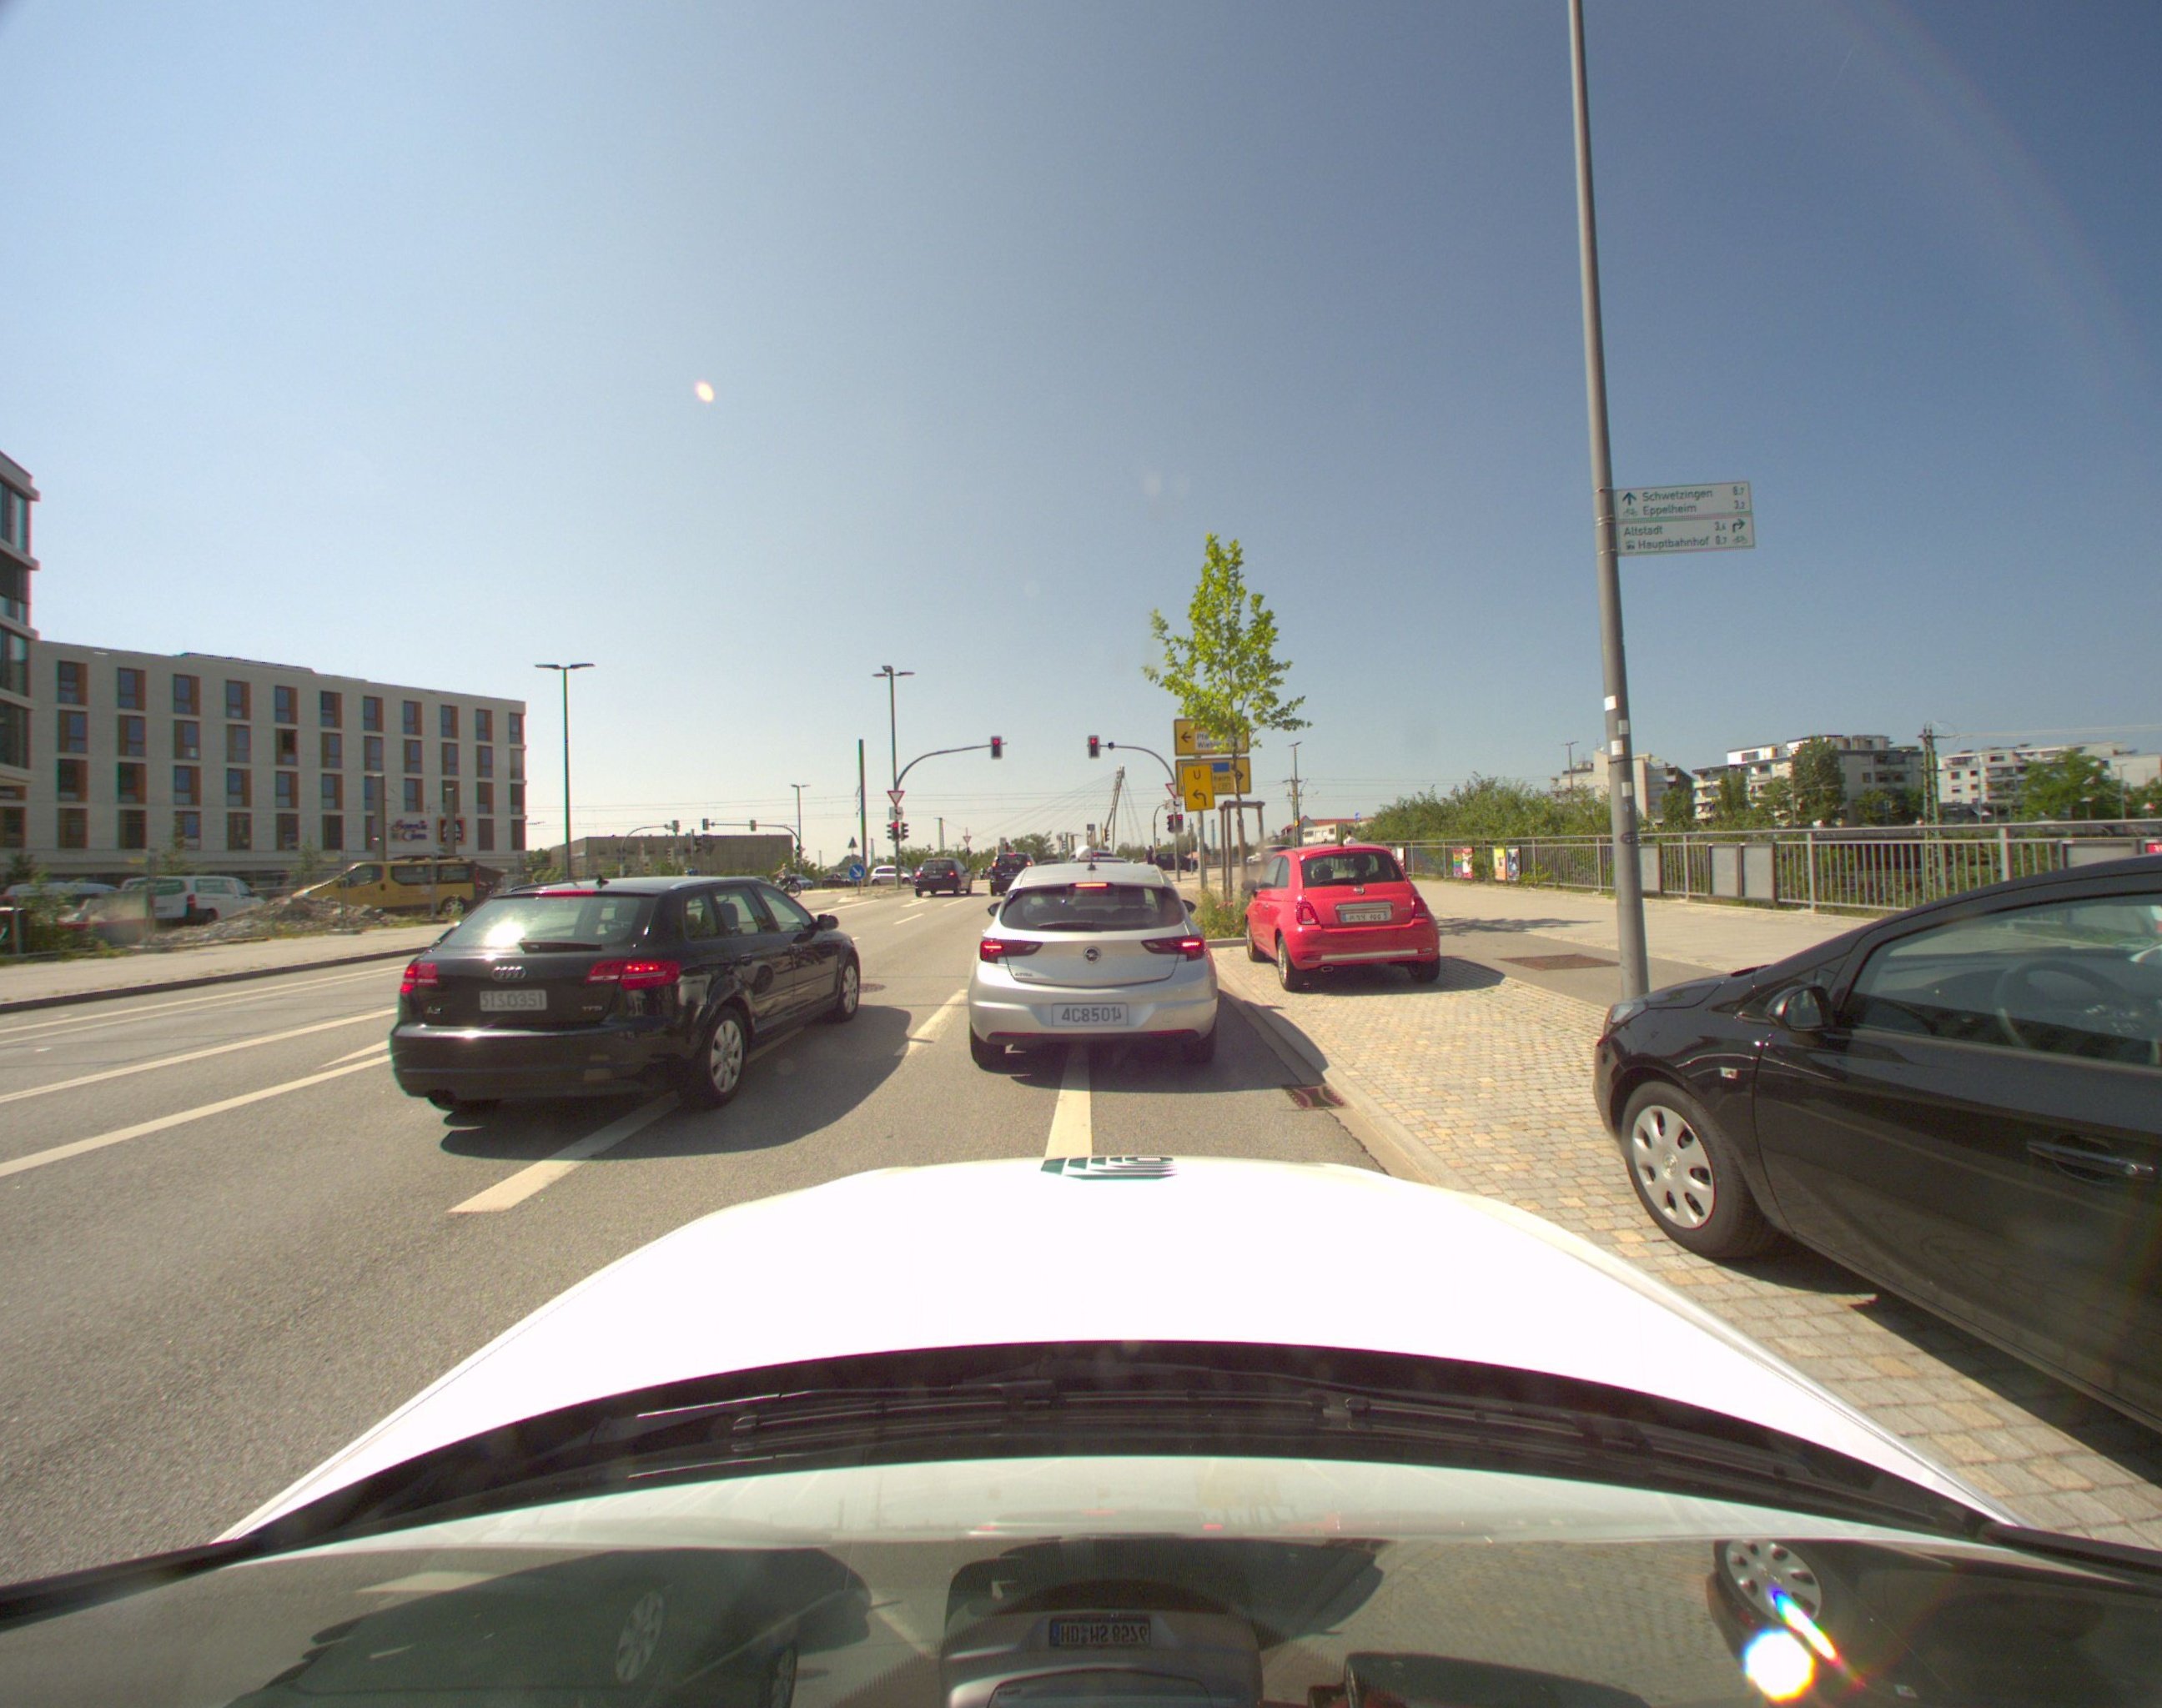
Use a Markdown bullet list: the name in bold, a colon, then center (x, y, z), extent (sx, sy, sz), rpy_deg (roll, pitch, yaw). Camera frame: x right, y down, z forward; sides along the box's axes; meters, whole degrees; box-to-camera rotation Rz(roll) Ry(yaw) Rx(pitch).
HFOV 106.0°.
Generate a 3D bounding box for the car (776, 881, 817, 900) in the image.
- **car**: center (-23.197, 2.959, 66.342), extent (3.113, 1.439, 1.596), rpy_deg (-1, -1, 36)

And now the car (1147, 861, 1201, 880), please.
- **car**: center (6.885, 1.188, 60.359), extent (3.766, 1.390, 1.664), rpy_deg (0, -1, -3)

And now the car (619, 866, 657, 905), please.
- **car**: center (-24.184, 1.657, 44.516), extent (1.679, 2.014, 3.964), rpy_deg (0, -1, -27)

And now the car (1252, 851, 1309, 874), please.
- **car**: center (15.905, 0.698, 65.063), extent (3.990, 1.784, 1.991), rpy_deg (0, -1, -13)

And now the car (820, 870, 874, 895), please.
- **car**: center (-20.027, 2.425, 69.713), extent (3.952, 2.014, 2.011), rpy_deg (-1, -1, 22)

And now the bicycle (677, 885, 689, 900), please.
- **bicycle**: center (-21.136, 2.045, 43.308), extent (0.517, 0.692, 2.235), rpy_deg (-1, -1, -25)

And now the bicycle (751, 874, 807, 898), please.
- **bicycle**: center (-14.340, 1.507, 38.696), extent (2.350, 1.127, 0.677), rpy_deg (0, -1, 0)

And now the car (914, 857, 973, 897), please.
- **car**: center (-5.218, 0.854, 31.180), extent (1.581, 1.395, 3.340), rpy_deg (-1, -1, 1)

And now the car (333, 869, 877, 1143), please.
- **car**: center (-2.981, 0.826, 6.245), extent (1.699, 1.412, 4.001), rpy_deg (0, -1, 2)

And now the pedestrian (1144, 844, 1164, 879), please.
- **pedestrian**: center (3.881, 0.393, 43.462), extent (0.746, 1.863, 0.744), rpy_deg (1, -2, -44)

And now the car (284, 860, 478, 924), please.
- **car**: center (-22.635, 1.151, 26.494), extent (1.974, 1.890, 4.514), rpy_deg (-1, -1, 40)

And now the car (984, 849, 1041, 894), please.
- **car**: center (-2.600, 0.662, 31.638), extent (1.797, 1.622, 3.917), rpy_deg (-1, -1, 1)

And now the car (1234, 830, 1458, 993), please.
- **car**: center (3.004, 0.576, 10.072), extent (1.662, 1.540, 3.921), rpy_deg (-3, 0, 4)

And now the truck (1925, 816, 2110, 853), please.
- **truck**: center (88.053, -1.750, 76.537), extent (17.857, 3.204, 3.723), rpy_deg (0, -1, -14)

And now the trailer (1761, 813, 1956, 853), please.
- **trailer**: center (68.067, -1.777, 71.225), extent (17.225, 3.204, 3.723), rpy_deg (0, -1, -14)

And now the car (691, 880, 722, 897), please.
- **car**: center (-39.710, 3.653, 86.353), extent (1.727, 1.741, 4.161), rpy_deg (1, -1, -43)

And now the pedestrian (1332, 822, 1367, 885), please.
- **pedestrian**: center (7.950, 0.005, 24.127), extent (0.755, 1.830, 0.885), rpy_deg (0, -1, 1)

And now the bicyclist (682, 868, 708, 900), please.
- **bicyclist**: center (-19.002, 1.462, 40.094), extent (0.814, 1.560, 0.868), rpy_deg (-1, -1, 28)

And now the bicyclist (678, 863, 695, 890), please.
- **bicyclist**: center (-22.458, 1.284, 46.361), extent (0.844, 1.502, 0.654), rpy_deg (0, -1, -23)

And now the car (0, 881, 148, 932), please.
- **car**: center (-33.690, 1.685, 27.279), extent (1.809, 1.508, 3.965), rpy_deg (0, -1, -27)

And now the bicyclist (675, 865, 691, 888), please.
- **bicyclist**: center (-21.157, 1.196, 43.321), extent (0.732, 1.175, 0.653), rpy_deg (0, -1, -28)

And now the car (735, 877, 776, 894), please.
- **car**: center (-30.481, 2.952, 76.172), extent (4.430, 1.455, 2.012), rpy_deg (-1, -1, 45)

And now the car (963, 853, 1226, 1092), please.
- **car**: center (0.133, 0.778, 7.415), extent (1.685, 1.520, 4.271), rpy_deg (-1, 0, 1)

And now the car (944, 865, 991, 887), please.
- **car**: center (-10.960, 2.111, 78.853), extent (3.958, 2.014, 2.008), rpy_deg (-2, -1, 14)

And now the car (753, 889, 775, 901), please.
- **car**: center (-37.378, 4.844, 95.930), extent (1.531, 1.304, 3.185), rpy_deg (1, -1, -38)

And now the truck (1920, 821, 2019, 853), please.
- **truck**: center (90.104, -1.690, 82.582), extent (9.890, 3.158, 2.492), rpy_deg (0, -1, -15)

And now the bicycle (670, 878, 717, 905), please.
- **bicycle**: center (-19.114, 1.843, 40.141), extent (2.499, 1.134, 0.733), rpy_deg (-5, 2, 31)

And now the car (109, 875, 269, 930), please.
- **car**: center (-31.072, 1.627, 28.581), extent (2.003, 1.707, 4.526), rpy_deg (0, -1, -23)

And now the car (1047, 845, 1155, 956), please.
- **car**: center (0.347, 0.739, 14.255), extent (1.629, 1.674, 3.745), rpy_deg (0, -1, 1)

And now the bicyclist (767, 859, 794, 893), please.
- **bicyclist**: center (-14.287, 1.046, 38.714), extent (0.942, 1.569, 0.823), rpy_deg (0, -1, 1)

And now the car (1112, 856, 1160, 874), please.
- **car**: center (5.206, 1.023, 76.926), extent (4.195, 1.645, 1.827), rpy_deg (0, -1, -10)

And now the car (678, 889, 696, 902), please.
- **car**: center (-45.957, 4.809, 94.957), extent (1.689, 1.455, 3.961), rpy_deg (0, -1, -30)

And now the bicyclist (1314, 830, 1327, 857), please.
- **bicyclist**: center (17.156, -0.723, 58.262), extent (0.628, 1.887, 0.599), rpy_deg (-3, 0, 43)

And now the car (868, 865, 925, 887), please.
- **car**: center (-13.884, 1.644, 61.385), extent (3.788, 1.629, 1.864), rpy_deg (0, -1, 14)

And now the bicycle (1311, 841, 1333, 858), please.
- **bicycle**: center (17.232, -0.358, 58.210), extent (0.548, 1.178, 2.100), rpy_deg (-2, -1, 42)

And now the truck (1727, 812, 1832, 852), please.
- **truck**: center (59.032, -1.782, 68.914), extent (6.478, 3.204, 3.721), rpy_deg (0, -1, -14)

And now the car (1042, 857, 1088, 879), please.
- **car**: center (-1.252, 1.059, 63.016), extent (3.498, 1.641, 1.799), rpy_deg (0, -1, -2)

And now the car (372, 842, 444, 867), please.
- **car**: center (-54.365, 0.076, 65.864), extent (3.990, 2.014, 1.991), rpy_deg (0, -1, -12)

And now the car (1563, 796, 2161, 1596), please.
- **car**: center (2.881, 0.641, 1.733), extent (1.576, 1.555, 3.548), rpy_deg (-4, 0, 1)
